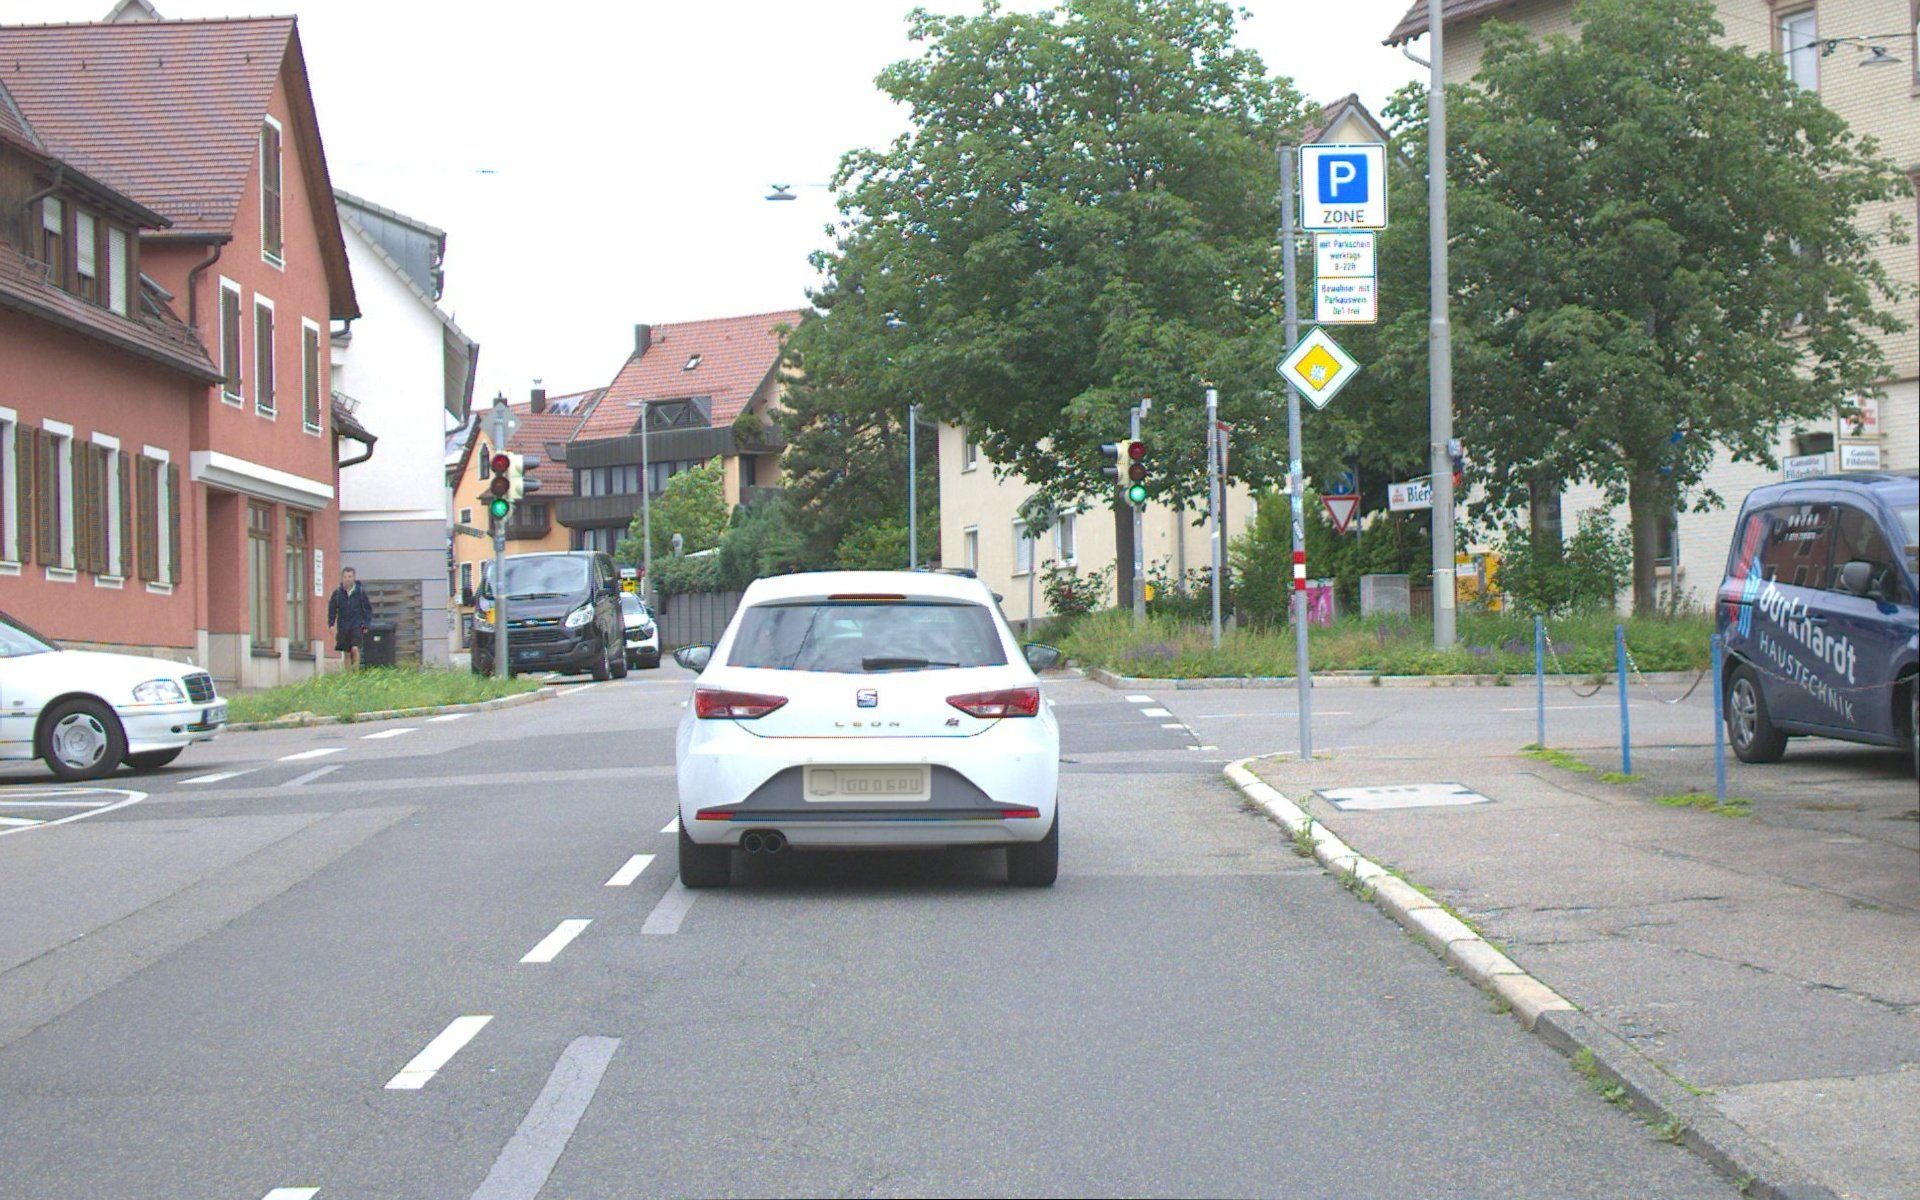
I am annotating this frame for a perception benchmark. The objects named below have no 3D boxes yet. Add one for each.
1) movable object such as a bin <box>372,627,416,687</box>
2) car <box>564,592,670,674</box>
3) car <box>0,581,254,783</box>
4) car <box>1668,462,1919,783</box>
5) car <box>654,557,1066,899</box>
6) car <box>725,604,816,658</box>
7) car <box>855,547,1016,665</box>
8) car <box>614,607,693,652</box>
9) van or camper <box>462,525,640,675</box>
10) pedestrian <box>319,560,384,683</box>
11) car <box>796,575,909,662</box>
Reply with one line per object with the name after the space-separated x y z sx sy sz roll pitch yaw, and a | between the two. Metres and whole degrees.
-9.913 0.988 60.208 0.665 1.015 0.795 -2 0 -4 | movable object such as a bin
-7.141 0.705 71.193 1.997 1.628 4.858 0 -1 -8 | car
-8.059 0.687 26.899 4.554 1.440 2.000 -3 0 3 | car
5.822 0.067 20.346 1.746 1.733 4.573 -3 1 -7 | car
-0.390 0.532 16.838 1.758 1.447 4.000 -1 1 1 | car
-5.388 0.891 97.340 1.758 1.447 4.001 1 -2 -15 | car
-0.368 0.112 44.863 1.758 1.447 4.000 -1 -1 -5 | car
-10.391 1.007 116.325 1.758 1.447 4.001 -1 -1 -19 | car
-6.101 0.052 51.829 2.073 1.999 4.857 -3 -2 -1 | van or camper
-8.914 0.306 50.378 0.800 1.779 0.893 -1 0 -1 | pedestrian
-1.912 0.346 60.159 1.758 1.447 4.000 -1 -1 -5 | car
